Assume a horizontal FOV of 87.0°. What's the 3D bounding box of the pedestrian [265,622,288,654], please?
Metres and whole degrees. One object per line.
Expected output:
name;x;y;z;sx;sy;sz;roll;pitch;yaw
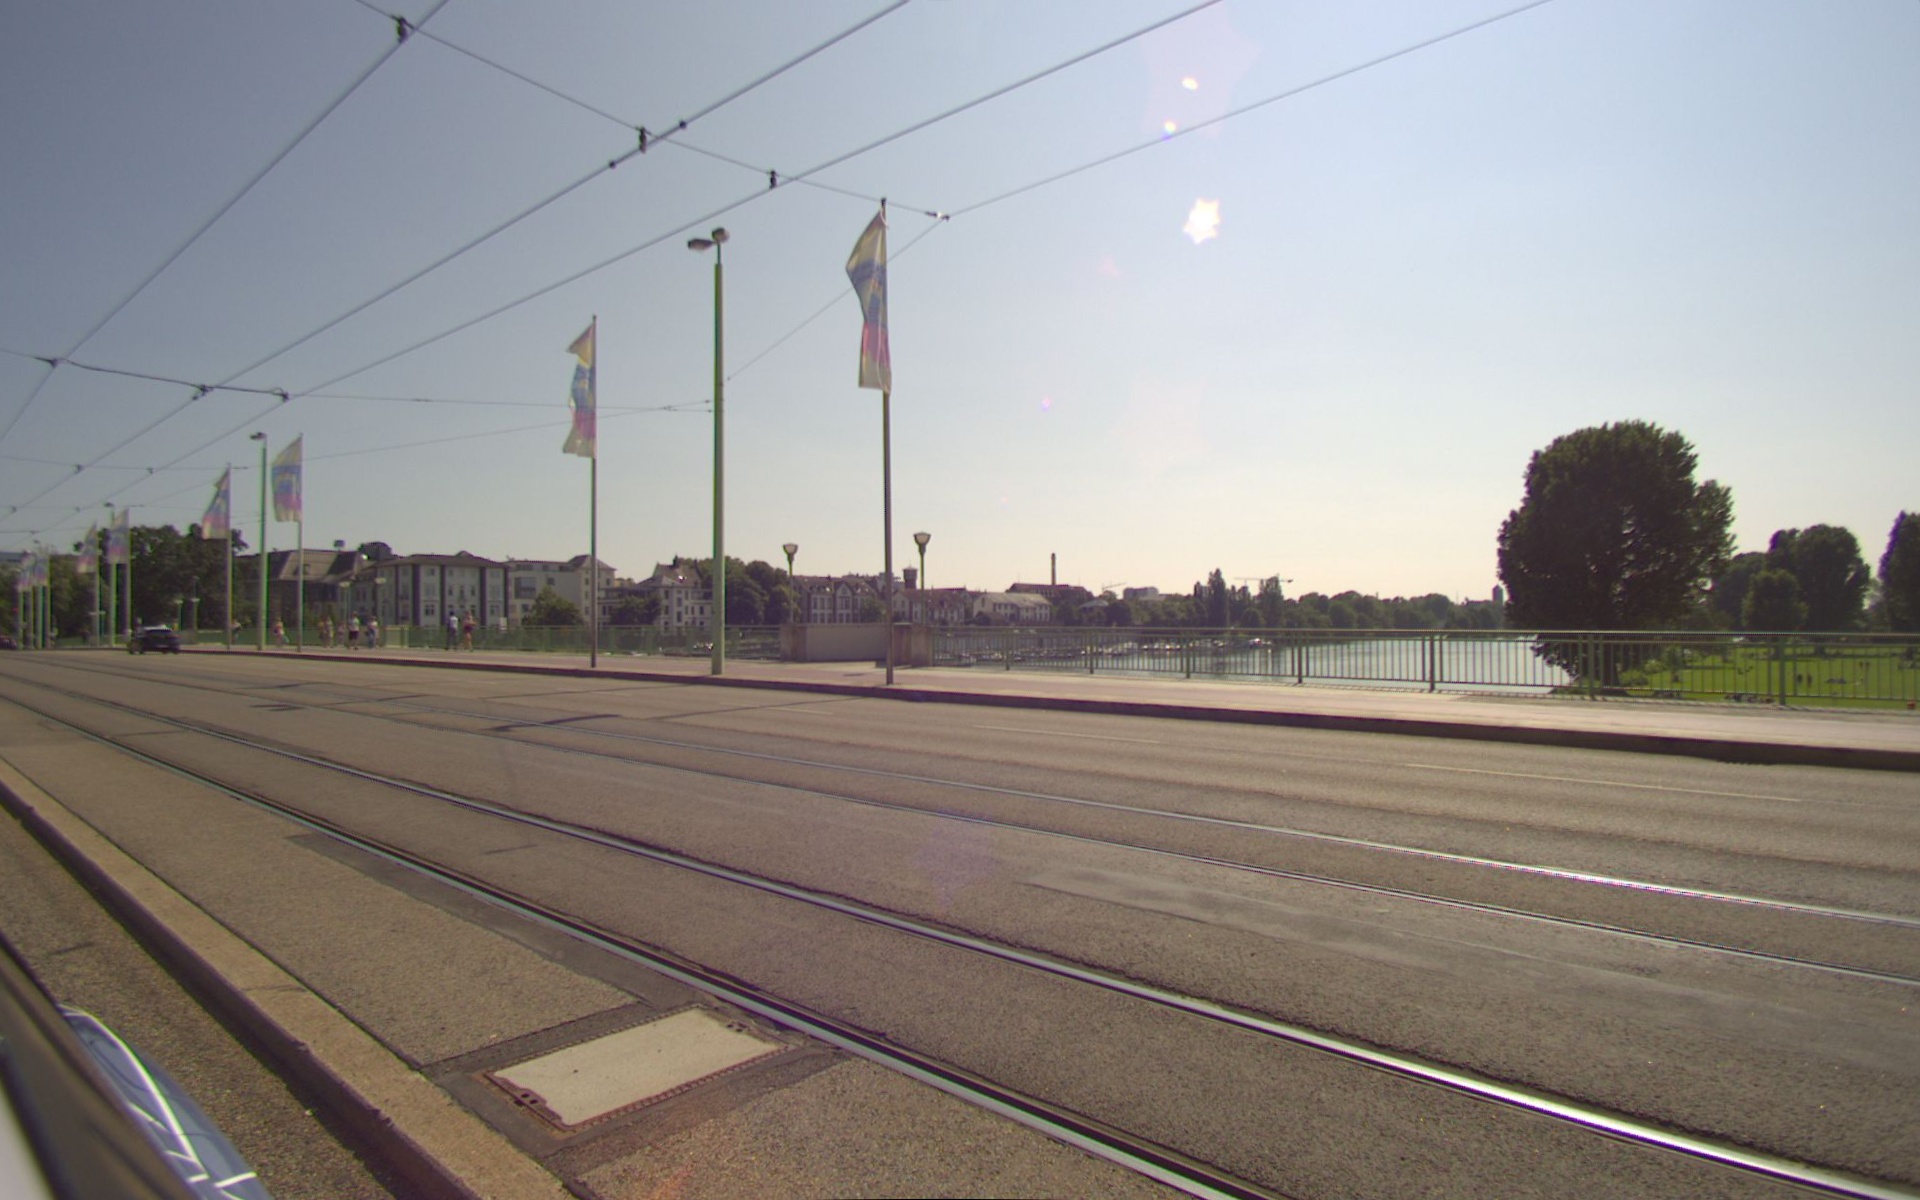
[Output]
pedestrian;-38.251;2.129;56.632;1.022;1.712;0.777;-1;1;41

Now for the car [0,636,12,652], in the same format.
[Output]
car;-93.947;4.294;98.789;3.999;1.447;1.650;-1;-1;42

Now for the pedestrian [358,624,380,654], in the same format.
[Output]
pedestrian;-28.337;1.853;48.529;1.022;1.425;0.584;-1;0;41

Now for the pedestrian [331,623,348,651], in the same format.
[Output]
pedestrian;-32.339;1.914;52.741;0.788;1.448;0.540;-1;0;41

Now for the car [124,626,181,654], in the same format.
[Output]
car;-43.557;2.145;54.562;3.899;1.465;1.698;-1;-2;41

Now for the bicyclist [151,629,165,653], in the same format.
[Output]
bicyclist;-55.983;2.881;70.655;0.621;1.663;0.657;-2;-2;42

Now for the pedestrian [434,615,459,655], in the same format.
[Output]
pedestrian;-22.626;1.521;44.600;1.022;1.712;0.584;-1;0;41

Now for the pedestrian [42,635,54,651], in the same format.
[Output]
pedestrian;-96.955;4.551;107.570;1.022;1.712;0.777;-1;1;41

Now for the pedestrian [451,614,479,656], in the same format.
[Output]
pedestrian;-20.618;1.456;42.127;1.022;1.703;0.677;-1;0;41

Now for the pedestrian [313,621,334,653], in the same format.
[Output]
pedestrian;-32.832;1.902;52.211;1.022;1.611;0.619;-1;0;41

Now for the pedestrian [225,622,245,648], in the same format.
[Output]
pedestrian;-48.329;2.331;67.461;1.022;1.712;0.777;-1;1;41

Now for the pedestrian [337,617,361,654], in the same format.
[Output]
pedestrian;-29.121;1.689;48.238;1.022;1.712;0.663;-1;0;41
